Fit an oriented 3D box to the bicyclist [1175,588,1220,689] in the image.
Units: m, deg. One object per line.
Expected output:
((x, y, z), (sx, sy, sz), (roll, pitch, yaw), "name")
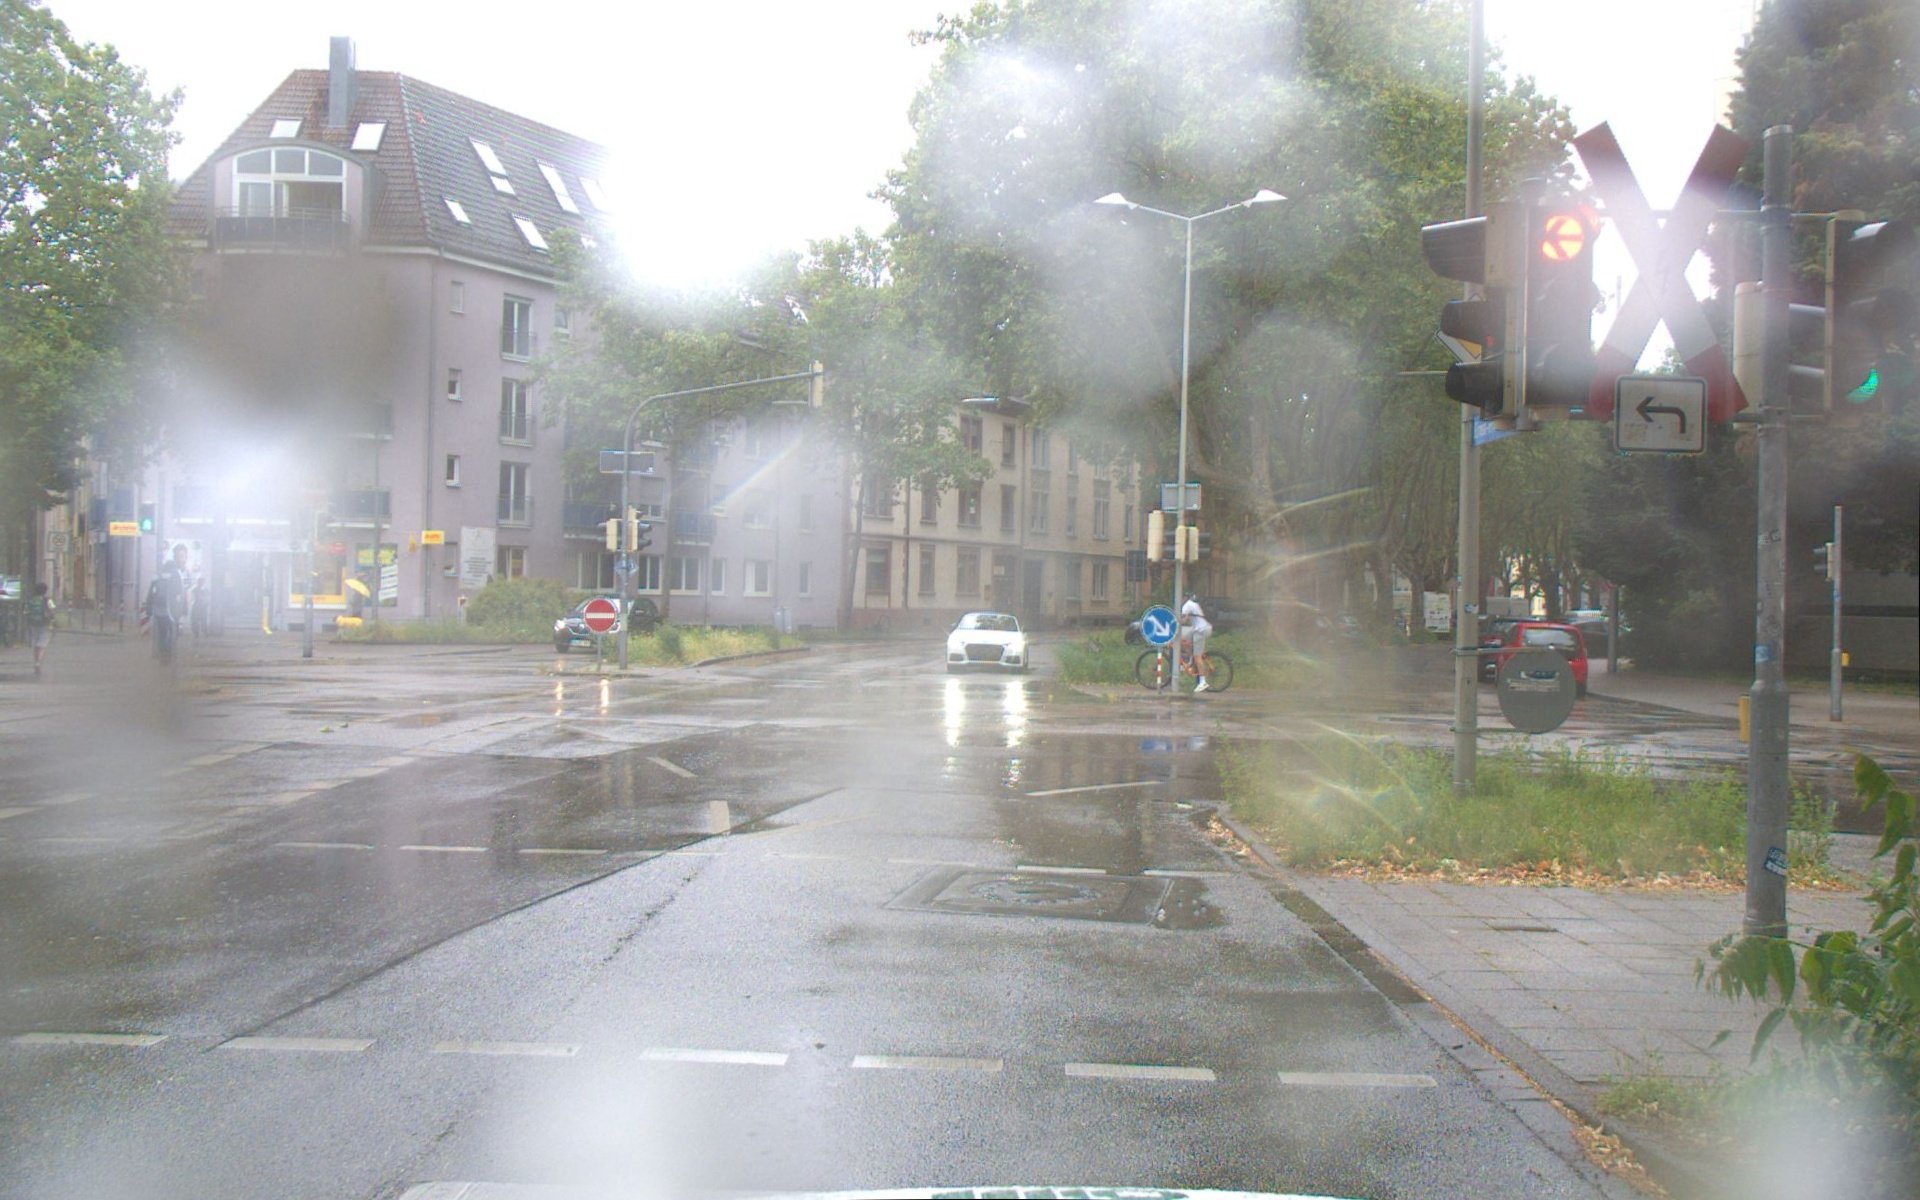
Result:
((4.359, 0.694, 30.414), (0.778, 1.817, 0.697), (1, -1, 7), "bicyclist")

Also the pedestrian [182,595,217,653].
((-21.003, 0.657, 45.661), (0.743, 1.560, 0.782), (1, -1, -34), "pedestrian")

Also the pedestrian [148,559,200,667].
((-13.912, 0.224, 29.307), (0.777, 1.888, 0.676), (1, 0, -25), "pedestrian")

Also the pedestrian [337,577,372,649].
((-18.652, 0.415, 50.959), (0.897, 2.188, 0.879), (1, -1, -27), "pedestrian")

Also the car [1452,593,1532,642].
((33.661, 1.083, 104.810), (1.974, 2.999, 4.720), (1, 0, -31), "car")

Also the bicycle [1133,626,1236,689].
((4.128, 1.049, 30.437), (1.833, 1.100, 0.657), (1, 0, 7), "bicycle")

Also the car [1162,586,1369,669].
((6.065, 0.530, 32.833), (3.902, 1.512, 2.002), (1, 0, 12), "car")

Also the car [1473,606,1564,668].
((13.893, 0.876, 41.301), (1.745, 1.371, 3.932), (2, 1, 13), "car")

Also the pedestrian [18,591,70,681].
((-14.776, 0.564, 26.677), (0.643, 1.420, 0.773), (1, 0, -35), "pedestrian")

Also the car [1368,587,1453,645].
((23.946, 0.846, 88.065), (2.005, 2.999, 4.742), (1, 0, -21), "car")

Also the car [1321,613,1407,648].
((19.254, 1.439, 78.922), (3.902, 1.574, 2.002), (1, 0, 12), "car")

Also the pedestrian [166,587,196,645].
((-22.427, 0.457, 47.617), (0.667, 1.628, 0.957), (1, -1, -32), "pedestrian")

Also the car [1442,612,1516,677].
((14.984, 1.252, 47.904), (1.745, 1.757, 4.003), (1, 0, 13), "car")

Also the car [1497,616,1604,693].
((13.047, 1.161, 36.731), (1.754, 1.524, 4.003), (1, 0, 13), "car")

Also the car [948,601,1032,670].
((0.717, 0.795, 39.118), (1.845, 1.461, 4.001), (1, 0, 1), "car")

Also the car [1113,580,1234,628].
((6.997, 0.130, 54.180), (3.784, 1.512, 1.717), (1, 0, 12), "car")

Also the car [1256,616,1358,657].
((13.762, 1.420, 65.671), (3.902, 1.512, 2.002), (1, 0, 12), "car")

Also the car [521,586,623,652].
((-9.630, 0.443, 41.338), (1.716, 1.538, 3.838), (1, 0, -2), "car")

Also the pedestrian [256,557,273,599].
((-22.732, -0.703, 54.068), (0.437, 1.353, 0.559), (1, -1, -18), "pedestrian")
